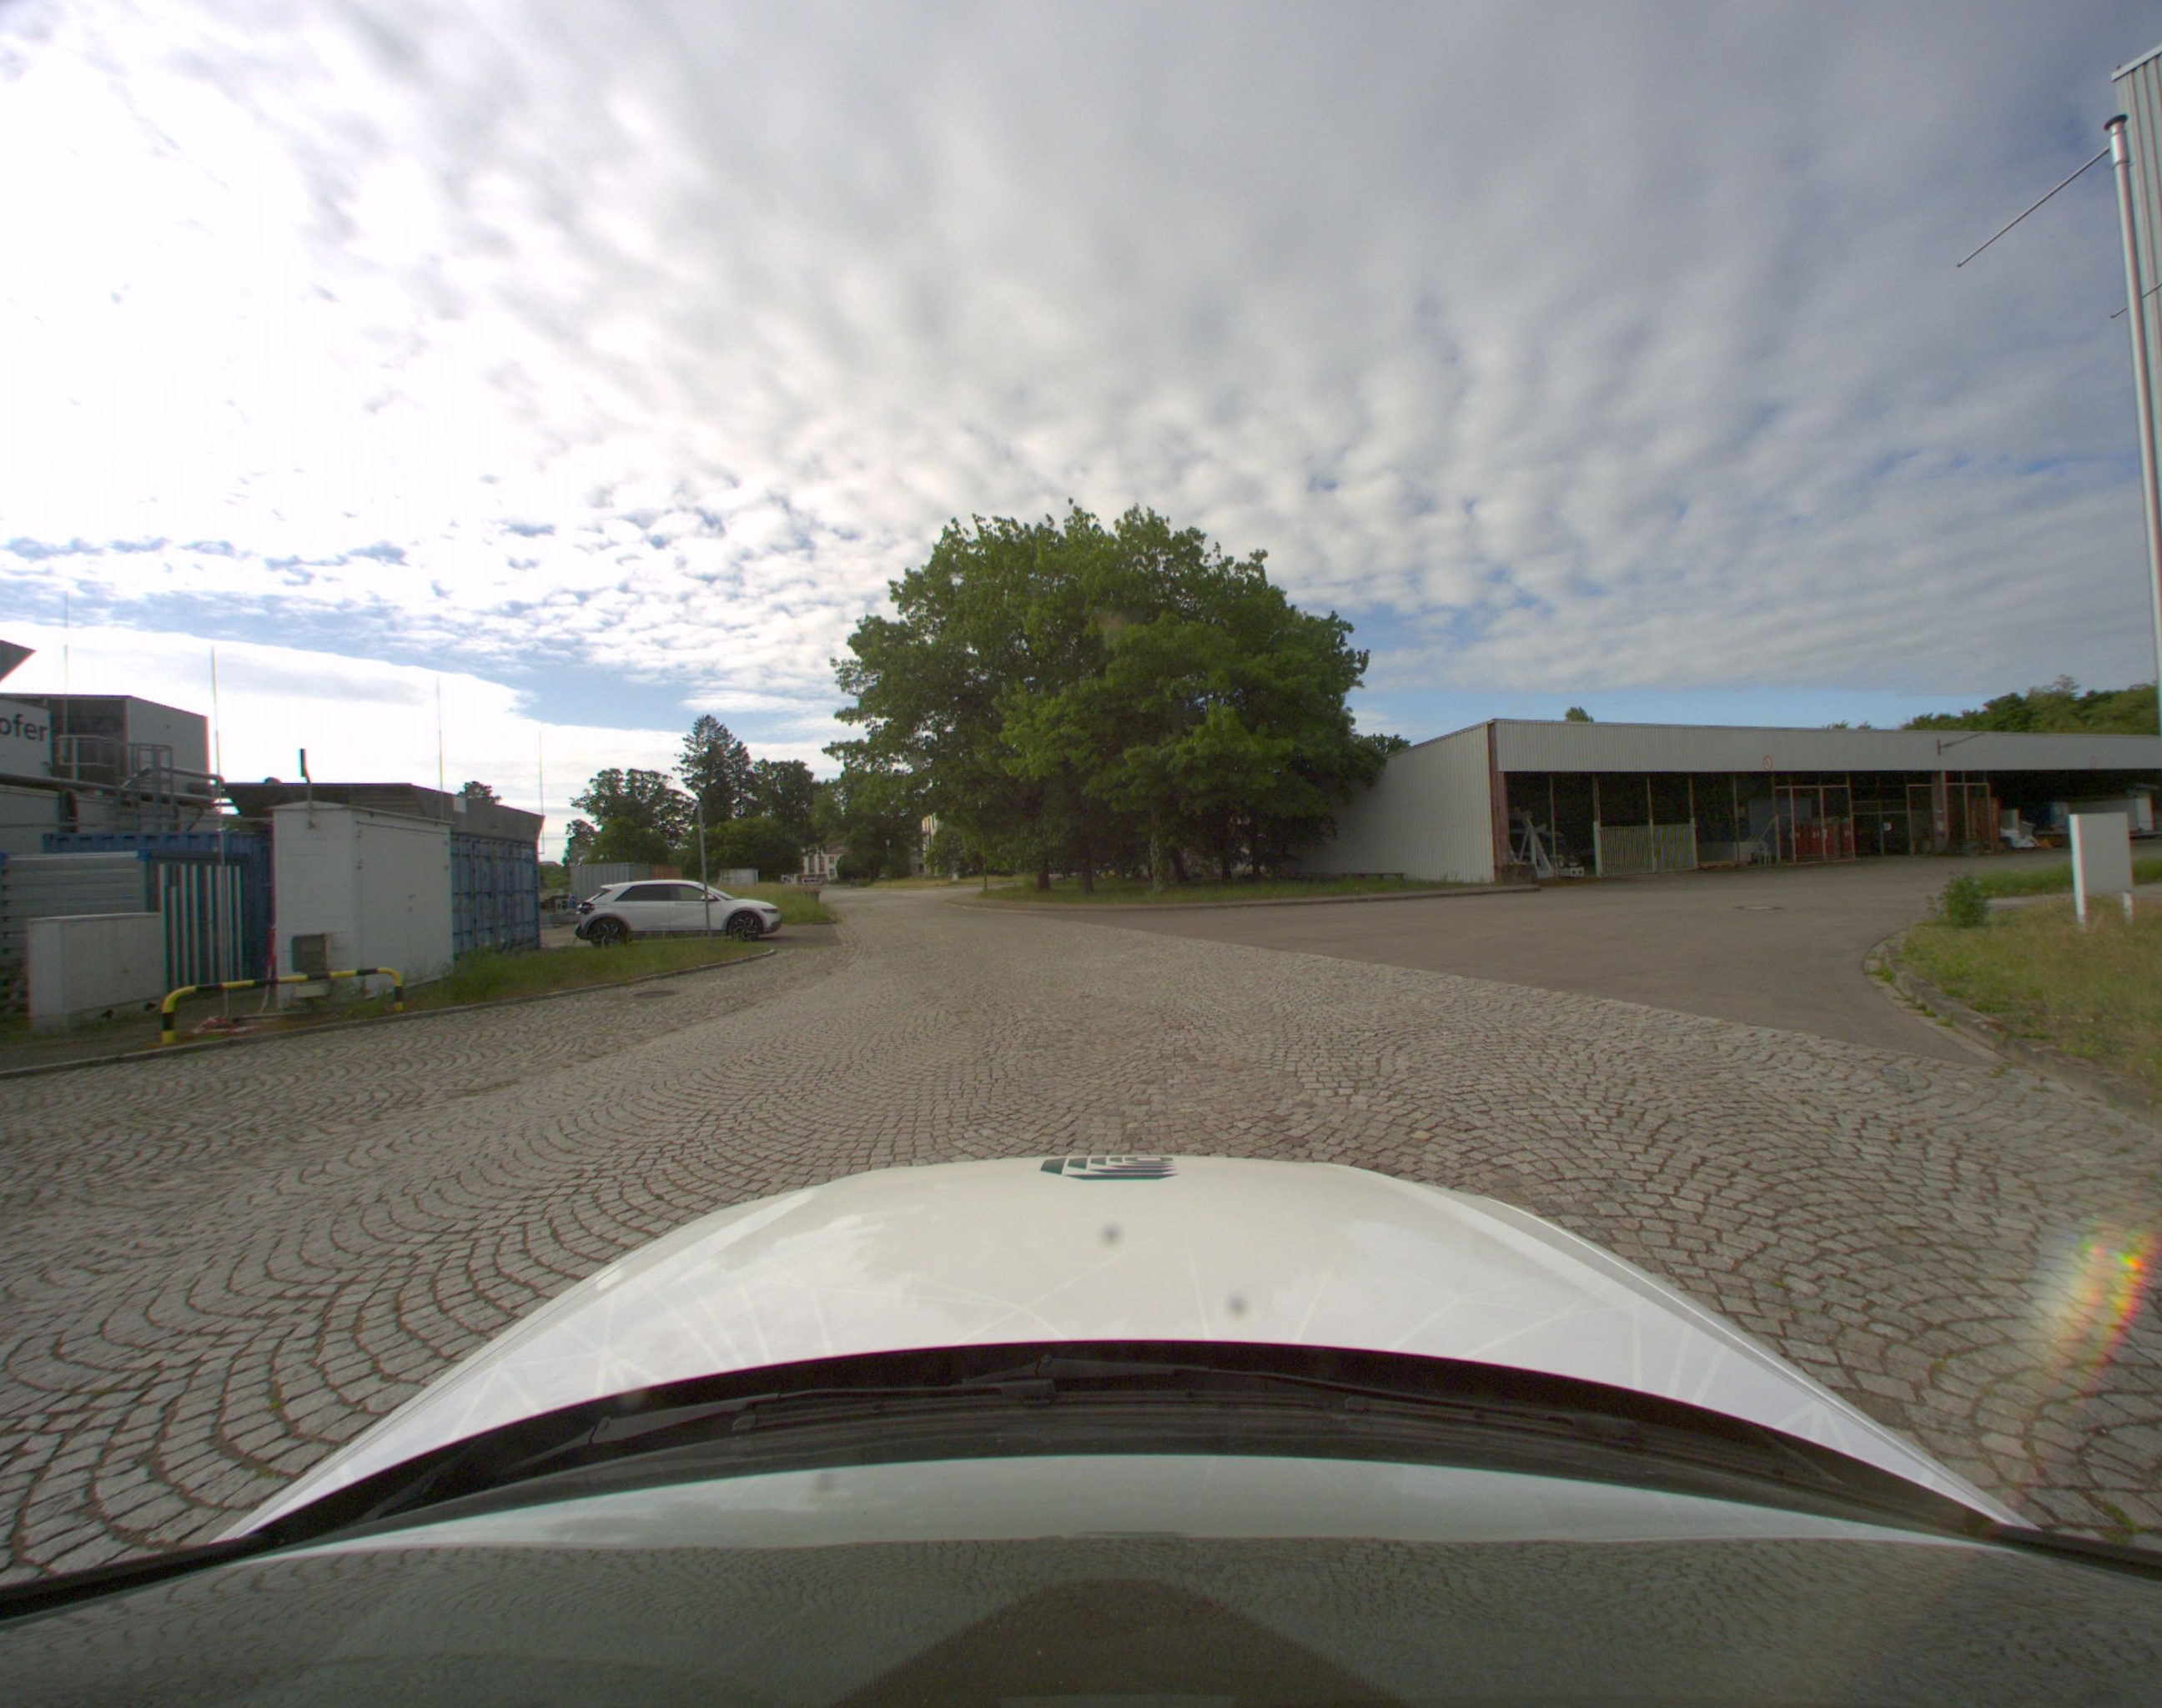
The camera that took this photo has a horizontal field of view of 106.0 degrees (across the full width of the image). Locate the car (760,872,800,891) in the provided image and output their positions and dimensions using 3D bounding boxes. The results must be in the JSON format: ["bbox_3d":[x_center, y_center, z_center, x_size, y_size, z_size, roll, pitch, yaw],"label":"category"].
[{"bbox_3d":[-42.708,3.927,115.755,5.188,2.337,1.986,-3,-1,-20],"label":"car"}]

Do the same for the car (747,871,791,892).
[{"bbox_3d":[-40.733,3.591,106.380,5.188,2.337,1.986,-3,-1,-20],"label":"car"}]

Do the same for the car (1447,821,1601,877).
[{"bbox_3d":[17.913,-0.140,33.329,2.249,2.014,5.299,-3,-1,-20],"label":"car"}]

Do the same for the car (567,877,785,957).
[{"bbox_3d":[-9.899,1.501,20.342,4.545,1.599,1.988,-3,-1,-17],"label":"car"}]
